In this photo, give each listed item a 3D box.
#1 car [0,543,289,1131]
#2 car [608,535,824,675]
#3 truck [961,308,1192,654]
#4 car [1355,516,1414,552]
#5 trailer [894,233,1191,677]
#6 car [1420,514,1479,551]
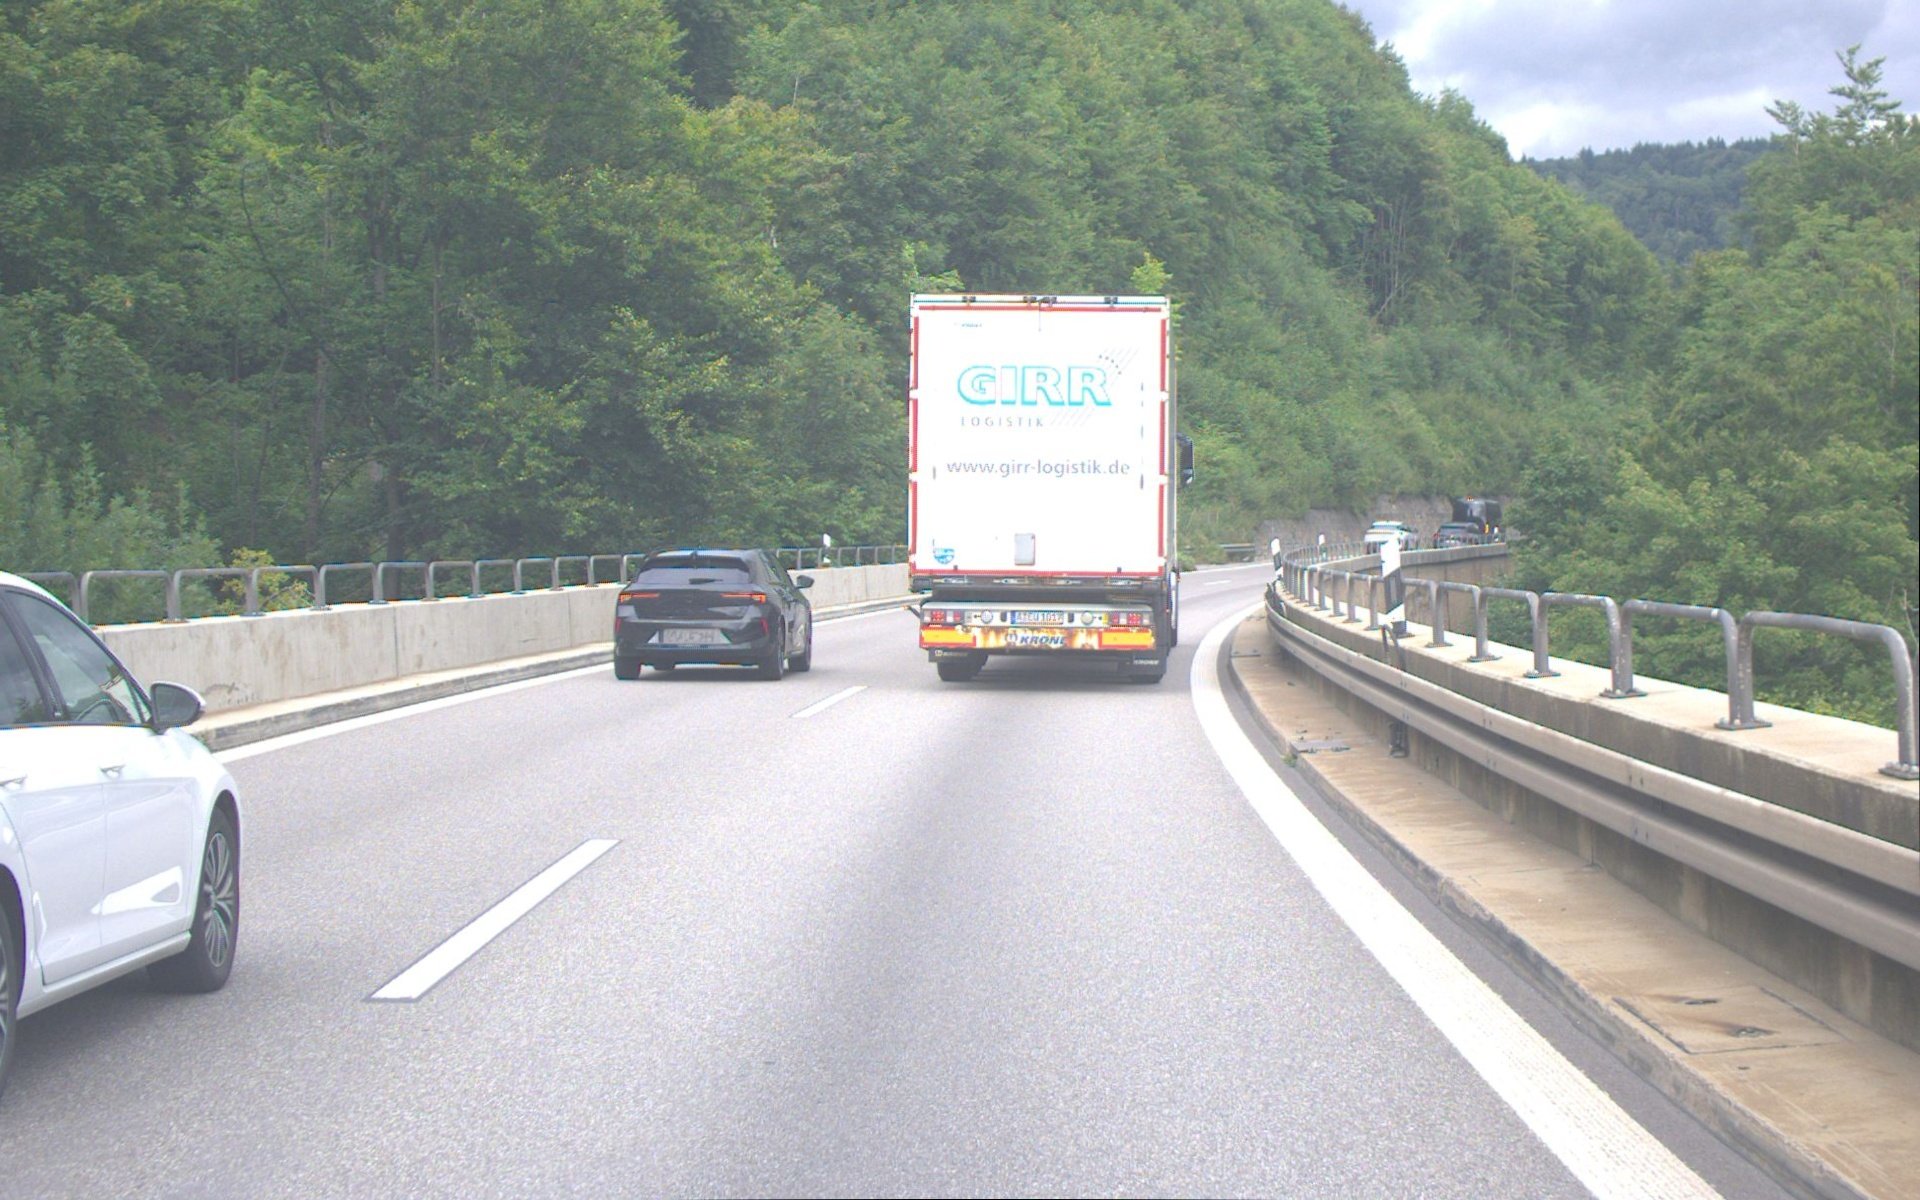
[{"bbox_3d":[-3.351,0.580,10.071,1.845,1.476,4.628,0,1,0],"label":"car"},{"bbox_3d":[-2.617,0.026,37.882,1.773,1.456,4.581,0,1,4],"label":"car"},{"bbox_3d":[1.666,-1.502,46.122,2.814,4.288,6.258,-1,0,4],"label":"truck"},{"bbox_3d":[19.223,-2.966,155.423,1.995,1.560,3.997,0,0,17],"label":"car"},{"bbox_3d":[1.213,-1.449,39.705,2.814,4.288,12.243,-1,0,4],"label":"trailer"},{"bbox_3d":[21.805,-2.980,153.096,1.995,1.560,3.997,0,0,17],"label":"car"}]
